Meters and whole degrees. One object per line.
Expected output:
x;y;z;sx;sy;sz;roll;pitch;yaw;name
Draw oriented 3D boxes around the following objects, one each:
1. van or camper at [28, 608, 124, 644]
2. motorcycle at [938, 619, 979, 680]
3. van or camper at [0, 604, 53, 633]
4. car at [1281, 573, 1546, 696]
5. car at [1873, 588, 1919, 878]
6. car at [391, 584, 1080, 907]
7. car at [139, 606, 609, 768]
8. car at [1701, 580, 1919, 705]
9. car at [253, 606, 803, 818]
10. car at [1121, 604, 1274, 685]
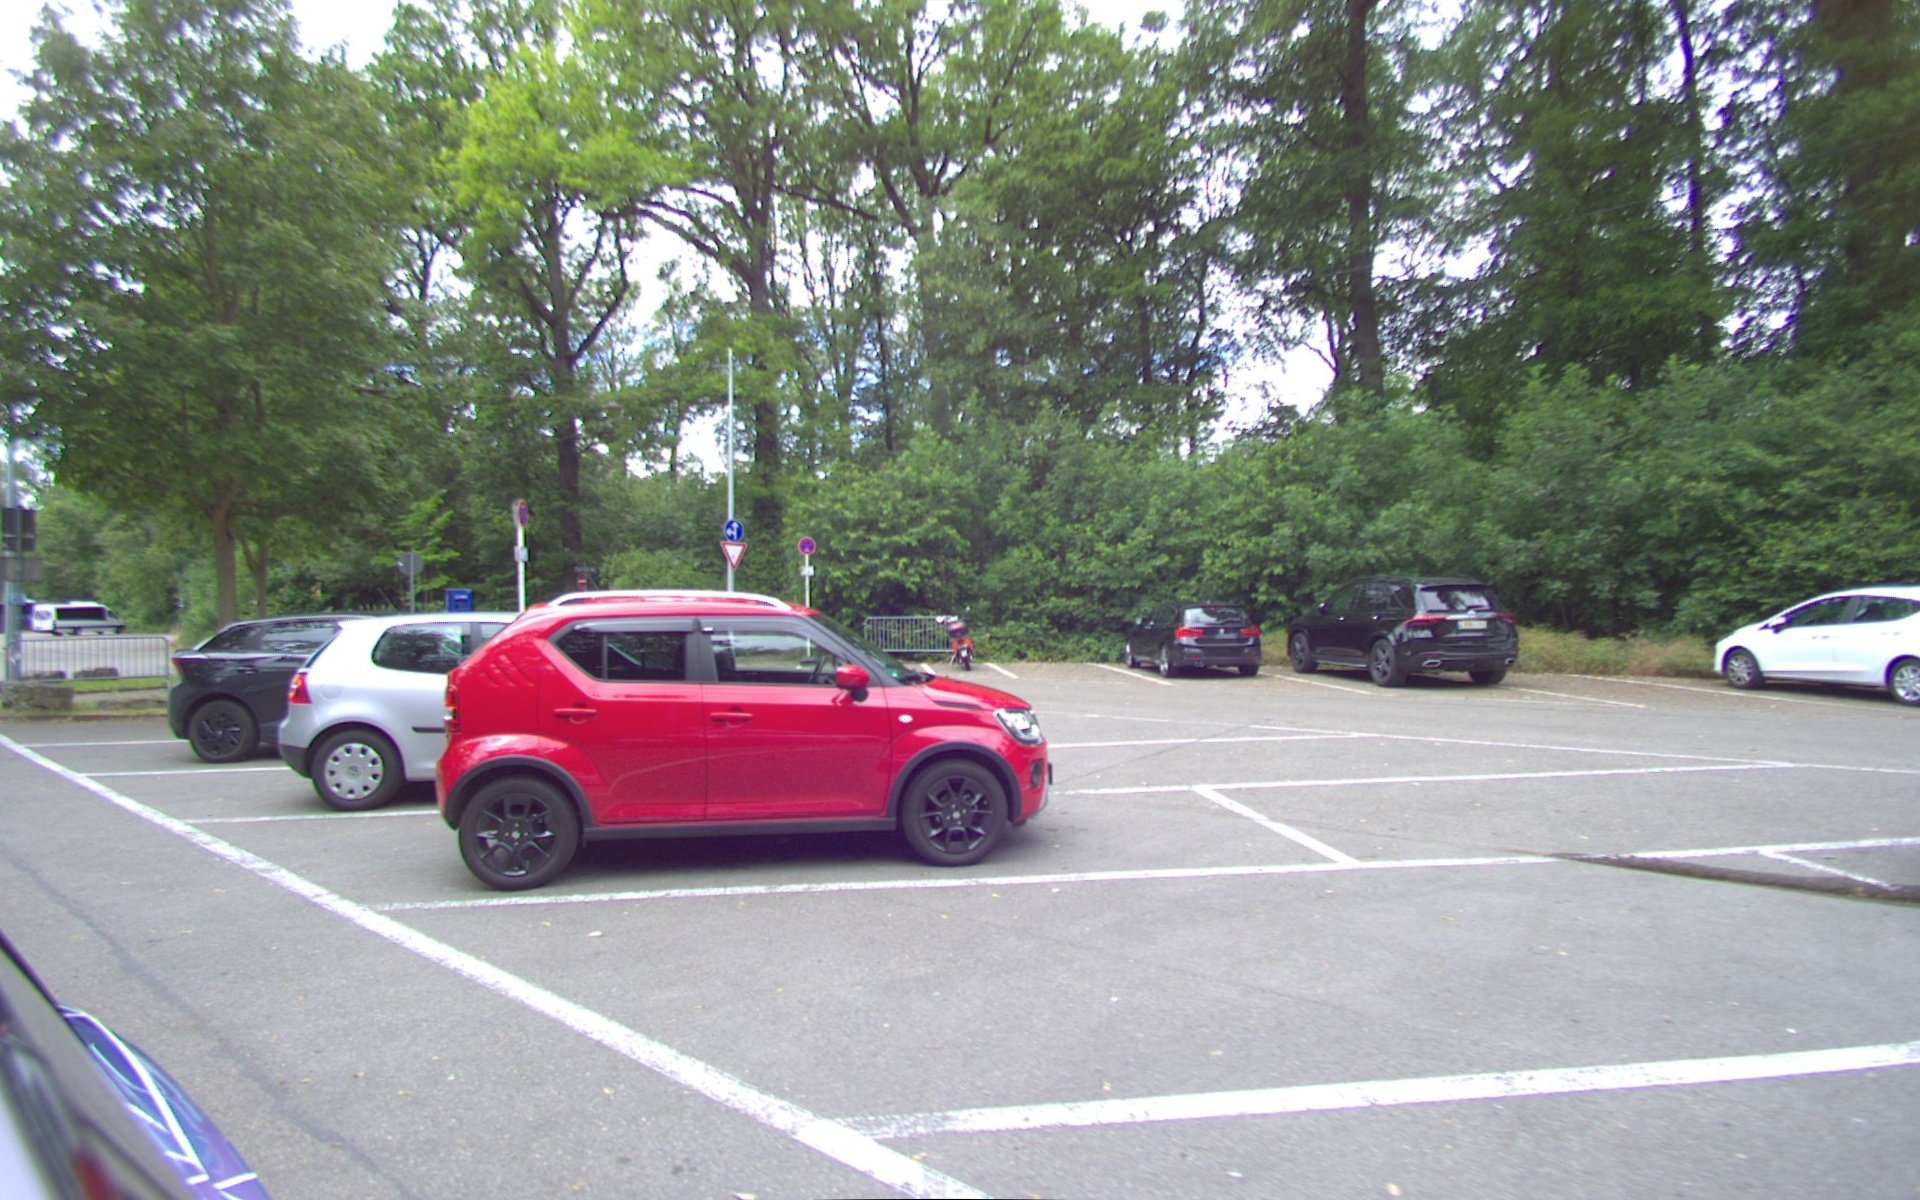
-76.674;2.197;87.997;2.039;2.871;7.340;-1;0;-1;van or camper
-0.008;1.050;22.002;0.721;1.217;2.026;-1;0;5;motorcycle
-95.946;1.816;101.959;2.176;2.871;7.330;-1;0;4;van or camper
7.492;0.547;17.388;2.080;1.780;4.714;-1;-1;-5;car
7.005;0.622;4.622;4.248;1.453;1.873;-1;-1;-8;car
-1.250;0.751;6.257;3.596;1.597;1.690;-1;-1;-8;car
-6.130;0.867;10.988;4.040;1.534;1.832;-1;0;-3;car
12.529;0.520;13.651;1.841;1.522;4.004;-1;-1;-5;car
-3.344;0.827;8.589;3.937;1.495;1.880;-1;0;-8;car
4.480;0.786;19.731;1.713;1.386;4.004;-1;0;-5;car
